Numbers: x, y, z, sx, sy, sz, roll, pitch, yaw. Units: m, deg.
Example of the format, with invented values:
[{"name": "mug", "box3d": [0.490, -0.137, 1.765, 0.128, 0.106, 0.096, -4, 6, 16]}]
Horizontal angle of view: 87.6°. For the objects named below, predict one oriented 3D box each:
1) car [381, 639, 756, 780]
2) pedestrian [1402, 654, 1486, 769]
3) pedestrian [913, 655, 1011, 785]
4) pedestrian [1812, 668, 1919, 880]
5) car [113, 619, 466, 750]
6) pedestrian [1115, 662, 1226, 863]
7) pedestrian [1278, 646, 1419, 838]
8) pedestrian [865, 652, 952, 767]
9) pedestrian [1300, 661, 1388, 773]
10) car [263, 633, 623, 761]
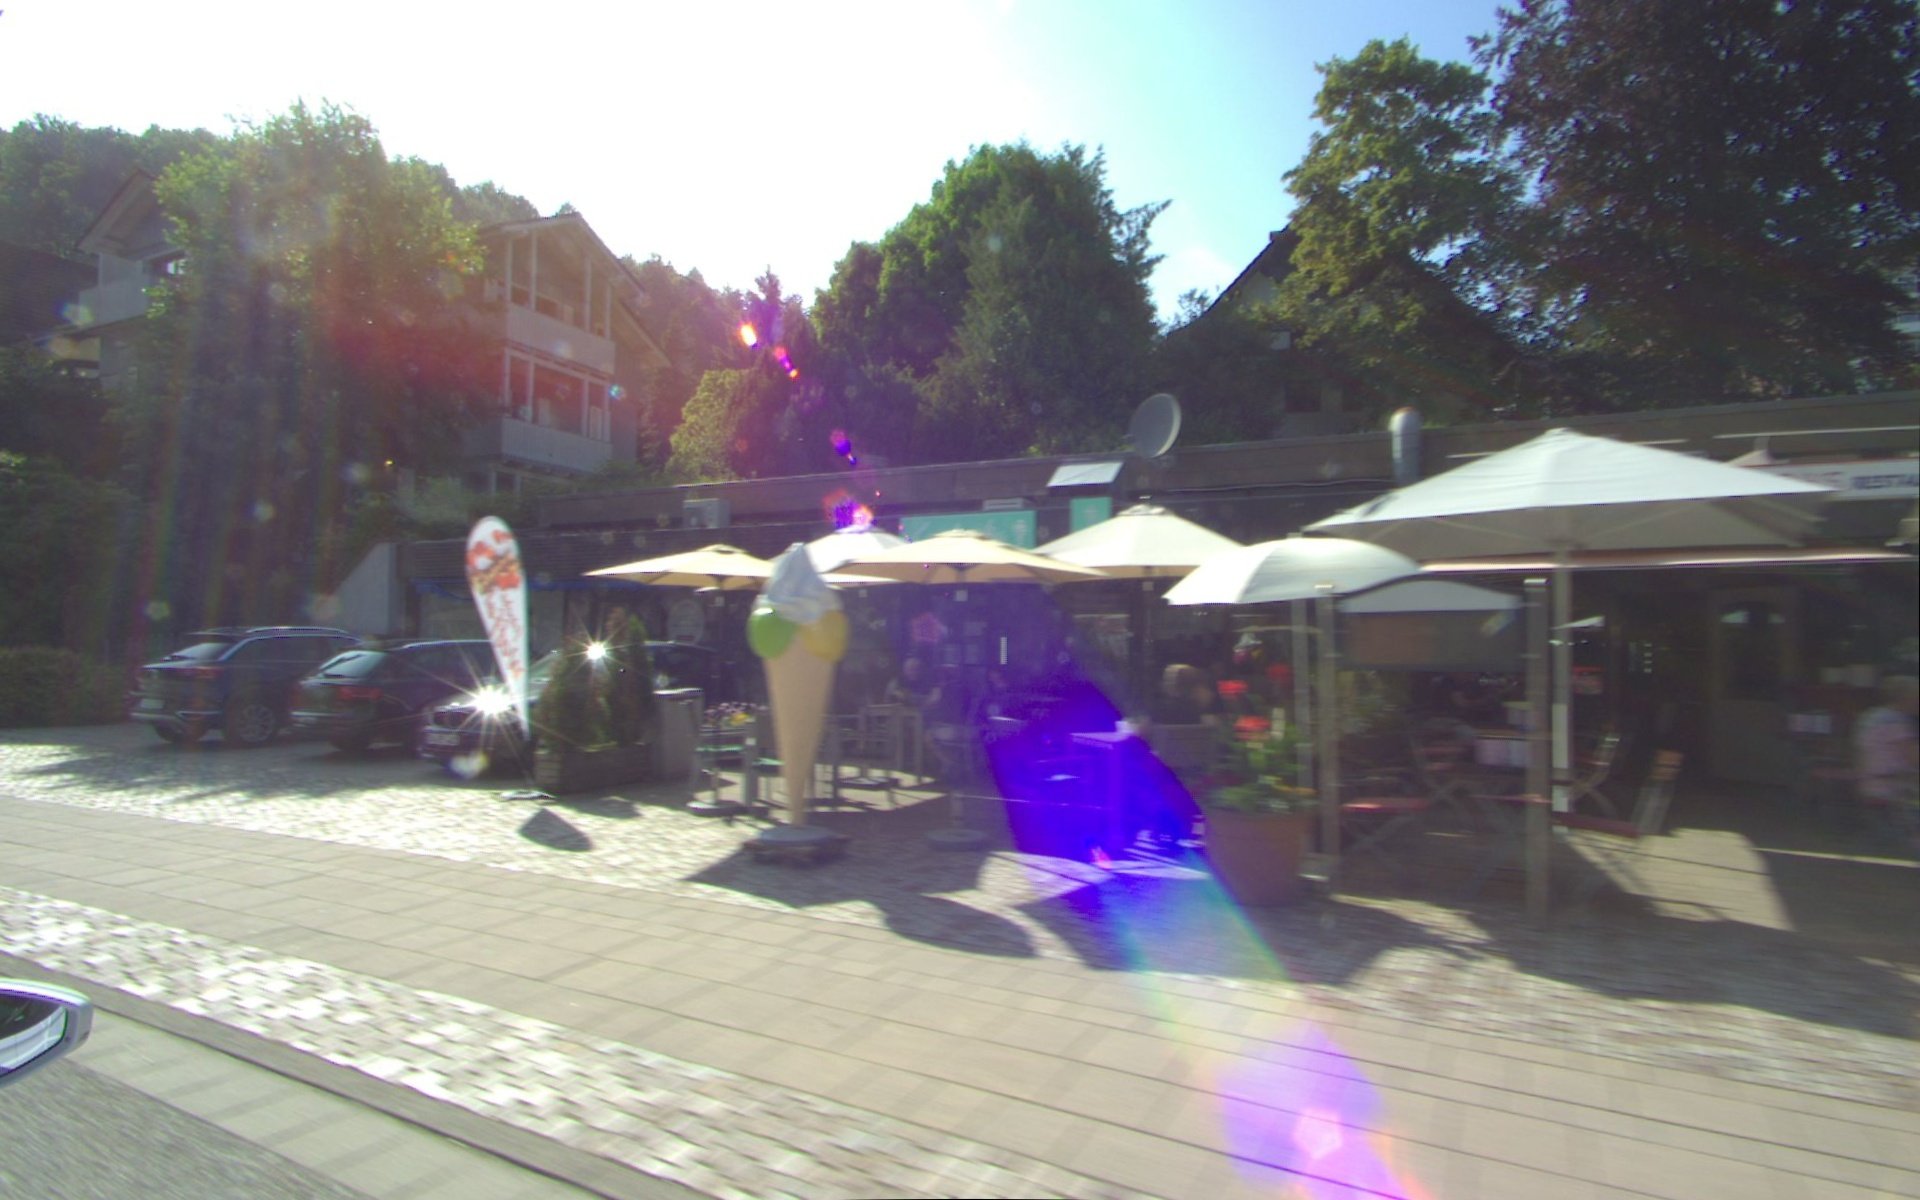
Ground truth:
[{"name": "car", "box3d": [-4.503, 1.183, 12.262, 1.682, 1.396, 4.262, -1, -2, 27]}, {"name": "pedestrian", "box3d": [5.831, 1.323, 12.071, 0.677, 1.316, 0.635, 1, -1, -24]}, {"name": "pedestrian", "box3d": [0.014, 1.231, 10.566, 0.692, 1.277, 0.806, 1, -1, -38]}, {"name": "pedestrian", "box3d": [6.265, 1.100, 6.556, 0.797, 1.277, 0.700, 1, -1, -9]}, {"name": "car", "box3d": [-9.384, 1.103, 14.371, 1.721, 1.600, 3.875, 0, -2, 27]}, {"name": "pedestrian", "box3d": [1.496, 1.096, 7.052, 0.688, 1.277, 0.811, 0, -1, 17]}, {"name": "pedestrian", "box3d": [3.000, 1.069, 7.783, 0.796, 1.399, 0.700, 0, -1, -4]}, {"name": "pedestrian", "box3d": [-0.616, 1.272, 11.891, 0.692, 1.277, 0.806, 1, -1, -38]}, {"name": "pedestrian", "box3d": [4.496, 1.345, 11.731, 0.678, 1.224, 0.696, 1, -1, -32]}, {"name": "car", "box3d": [-6.738, 1.180, 13.550, 1.721, 1.433, 4.109, -1, -2, 27]}]
